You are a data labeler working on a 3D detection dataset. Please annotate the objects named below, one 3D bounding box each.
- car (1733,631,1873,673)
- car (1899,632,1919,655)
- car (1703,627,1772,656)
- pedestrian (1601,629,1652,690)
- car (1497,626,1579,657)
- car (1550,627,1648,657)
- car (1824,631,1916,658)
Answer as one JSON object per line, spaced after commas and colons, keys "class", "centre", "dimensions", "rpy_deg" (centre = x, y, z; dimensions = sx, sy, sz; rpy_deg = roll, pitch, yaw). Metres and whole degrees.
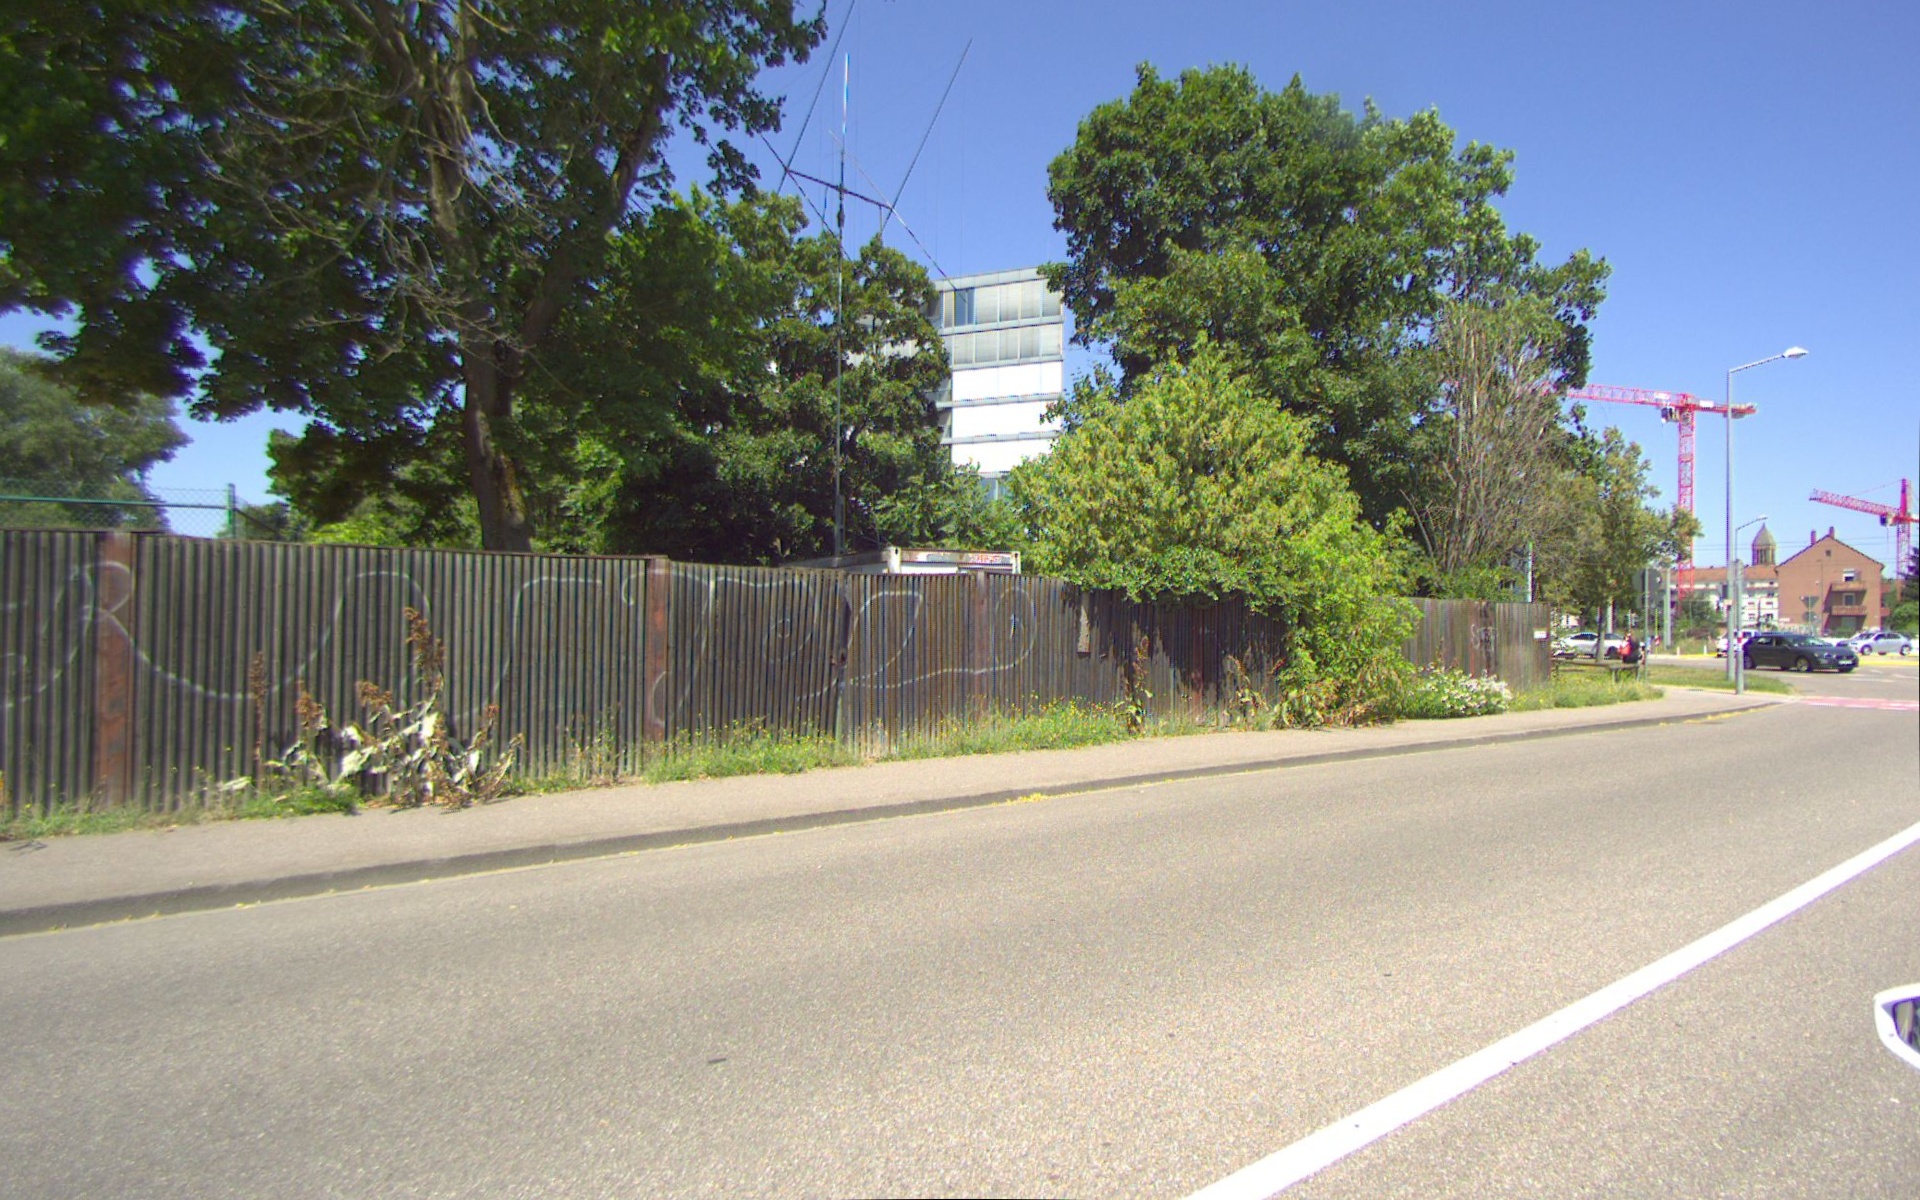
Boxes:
{"class": "car", "centre": [32.832, 1.991, 39.290], "dimensions": [1.960, 1.461, 4.219], "rpy_deg": [1, -1, 1]}
{"class": "car", "centre": [69.316, 3.053, 70.676], "dimensions": [4.341, 1.590, 2.023], "rpy_deg": [-1, -2, 30]}
{"class": "car", "centre": [43.969, 2.332, 56.803], "dimensions": [3.953, 1.570, 1.748], "rpy_deg": [2, -1, -30]}
{"class": "pedestrian", "centre": [18.013, 1.593, 27.174], "dimensions": [0.795, 1.584, 0.877], "rpy_deg": [1, 0, 1]}
{"class": "car", "centre": [32.815, 2.353, 57.208], "dimensions": [1.961, 1.587, 4.589], "rpy_deg": [1, -1, -1]}
{"class": "car", "centre": [36.648, 2.368, 57.781], "dimensions": [1.964, 1.529, 4.999], "rpy_deg": [1, -1, -9]}
{"class": "car", "centre": [57.210, 2.794, 63.221], "dimensions": [4.136, 1.520, 1.713], "rpy_deg": [1, -1, 3]}
